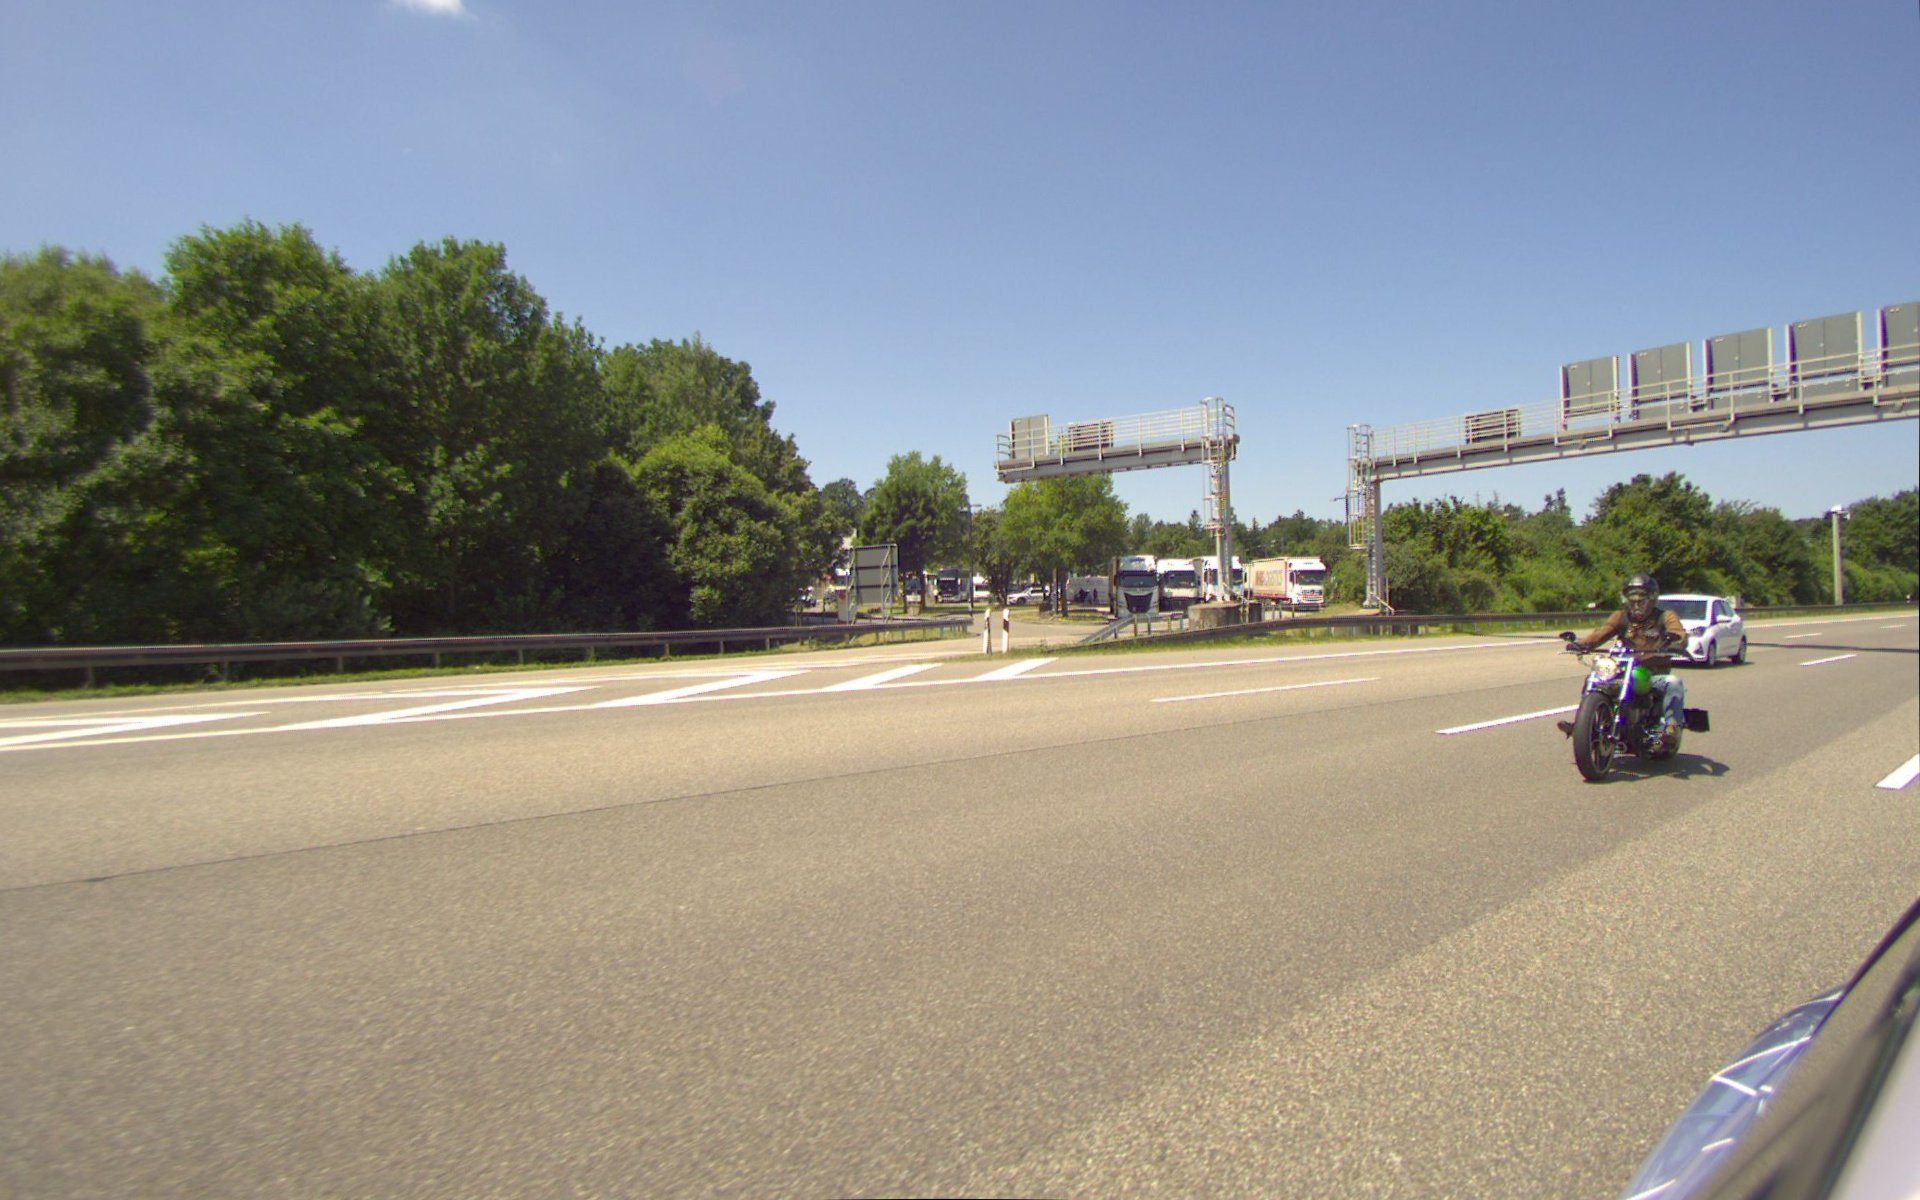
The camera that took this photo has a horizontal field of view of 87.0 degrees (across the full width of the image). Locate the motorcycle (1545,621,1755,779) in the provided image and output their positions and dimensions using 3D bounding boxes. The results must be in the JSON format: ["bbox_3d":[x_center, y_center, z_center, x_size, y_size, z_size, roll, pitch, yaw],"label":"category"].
[{"bbox_3d":[5.908,0.784,8.600,2.388,1.150,0.538,0,1,-32],"label":"motorcycle"}]

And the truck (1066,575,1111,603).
[{"bbox_3d":[12.976,-1.137,102.311,4.367,2.677,2.114,-2,1,6],"label":"truck"}]

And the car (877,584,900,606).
[{"bbox_3d":[-6.913,-0.509,97.565,2.128,2.039,4.477,-2,1,-4],"label":"car"}]

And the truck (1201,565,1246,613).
[{"bbox_3d":[18.757,-0.802,72.450,2.415,3.163,9.002,-2,1,10],"label":"truck"}]

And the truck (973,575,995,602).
[{"bbox_3d":[2.867,-1.343,118.072,1.965,3.031,6.370,-2,1,6],"label":"truck"}]

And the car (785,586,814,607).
[{"bbox_3d":[-16.540,-0.371,104.705,2.483,2.039,4.477,-2,1,-4],"label":"car"}]

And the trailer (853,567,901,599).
[{"bbox_3d":[-9.969,-2.069,122.751,3.387,3.677,10.735,-2,1,8],"label":"trailer"}]

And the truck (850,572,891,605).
[{"bbox_3d":[-10.473,-1.356,119.121,3.426,3.656,6.020,-2,1,9],"label":"truck"}]

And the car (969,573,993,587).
[{"bbox_3d":[3.193,-3.091,153.648,1.981,2.039,3.962,-1,1,28],"label":"car"}]

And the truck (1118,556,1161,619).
[{"bbox_3d":[11.253,-0.812,63.848,2.453,3.656,6.311,-2,1,9],"label":"truck"}]

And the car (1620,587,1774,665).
[{"bbox_3d":[16.069,0.507,21.988,4.405,1.538,1.753,0,0,-41],"label":"car"}]

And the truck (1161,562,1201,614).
[{"bbox_3d":[15.679,-0.891,72.304,2.415,3.472,9.002,-2,1,10],"label":"truck"}]

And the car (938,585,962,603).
[{"bbox_3d":[-1.127,-0.709,116.041,2.205,1.995,4.481,-2,1,6],"label":"car"}]

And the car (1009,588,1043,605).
[{"bbox_3d":[6.609,-0.382,101.606,3.130,1.556,1.565,-2,1,-6],"label":"car"}]

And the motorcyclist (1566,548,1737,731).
[{"bbox_3d":[5.877,0.300,8.612,1.003,1.445,0.856,0,1,-31],"label":"motorcyclist"}]

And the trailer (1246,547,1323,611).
[{"bbox_3d":[26.547,-1.694,83.448,3.223,4.766,12.045,-2,1,5],"label":"trailer"}]

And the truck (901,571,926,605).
[{"bbox_3d":[-5.306,-1.458,117.039,2.302,3.710,8.878,-2,1,1],"label":"truck"}]

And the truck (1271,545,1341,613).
[{"bbox_3d":[25.956,-1.598,76.280,3.209,4.783,7.180,-2,1,5],"label":"truck"}]
